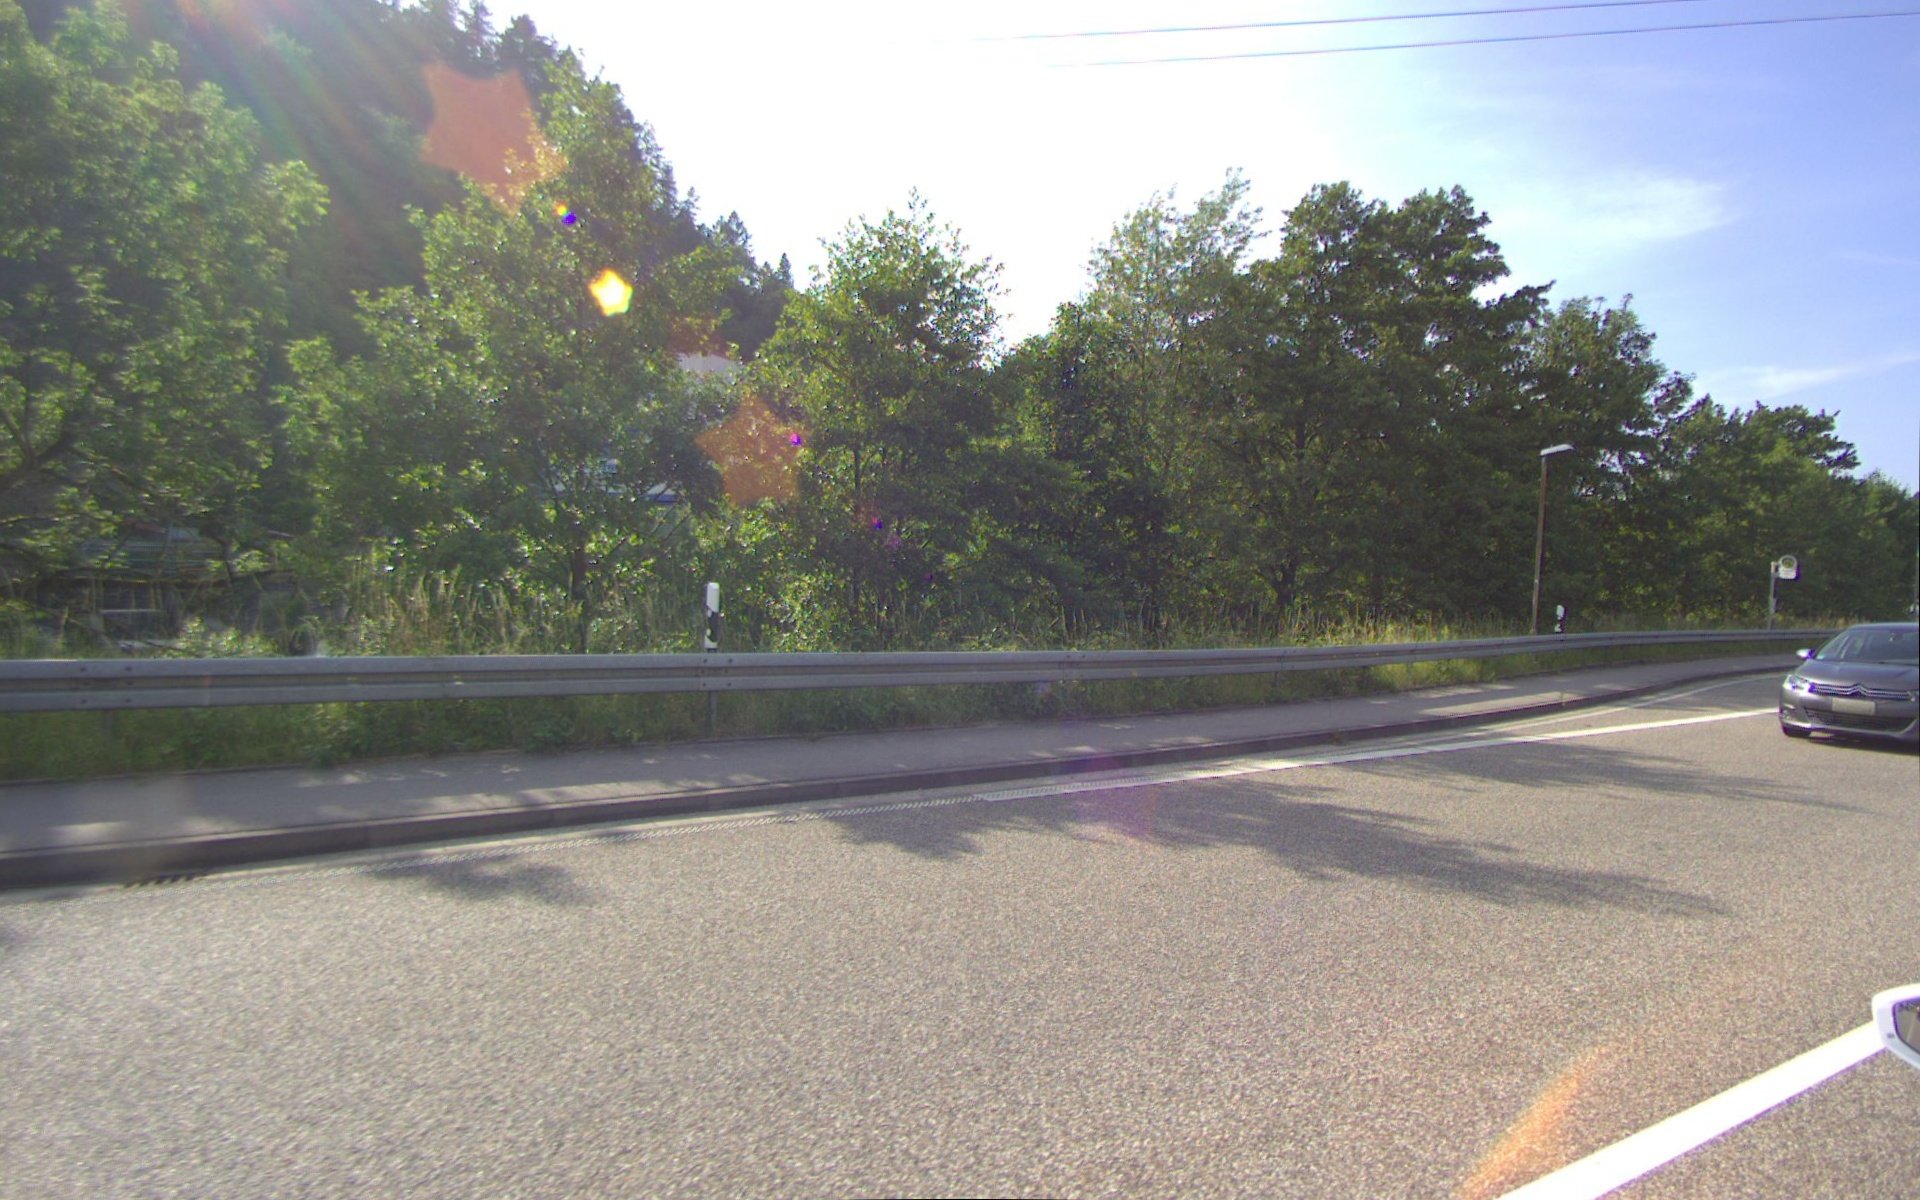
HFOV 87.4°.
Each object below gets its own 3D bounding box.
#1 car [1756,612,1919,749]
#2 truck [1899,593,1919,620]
[{"bbox_3d":[11.969,0.950,12.837,3.963,1.508,1.877,2,-1,-37],"label":"car"},{"bbox_3d":[115.183,0.802,119.717,2.668,3.125,6.105,3,1,23],"label":"truck"}]
